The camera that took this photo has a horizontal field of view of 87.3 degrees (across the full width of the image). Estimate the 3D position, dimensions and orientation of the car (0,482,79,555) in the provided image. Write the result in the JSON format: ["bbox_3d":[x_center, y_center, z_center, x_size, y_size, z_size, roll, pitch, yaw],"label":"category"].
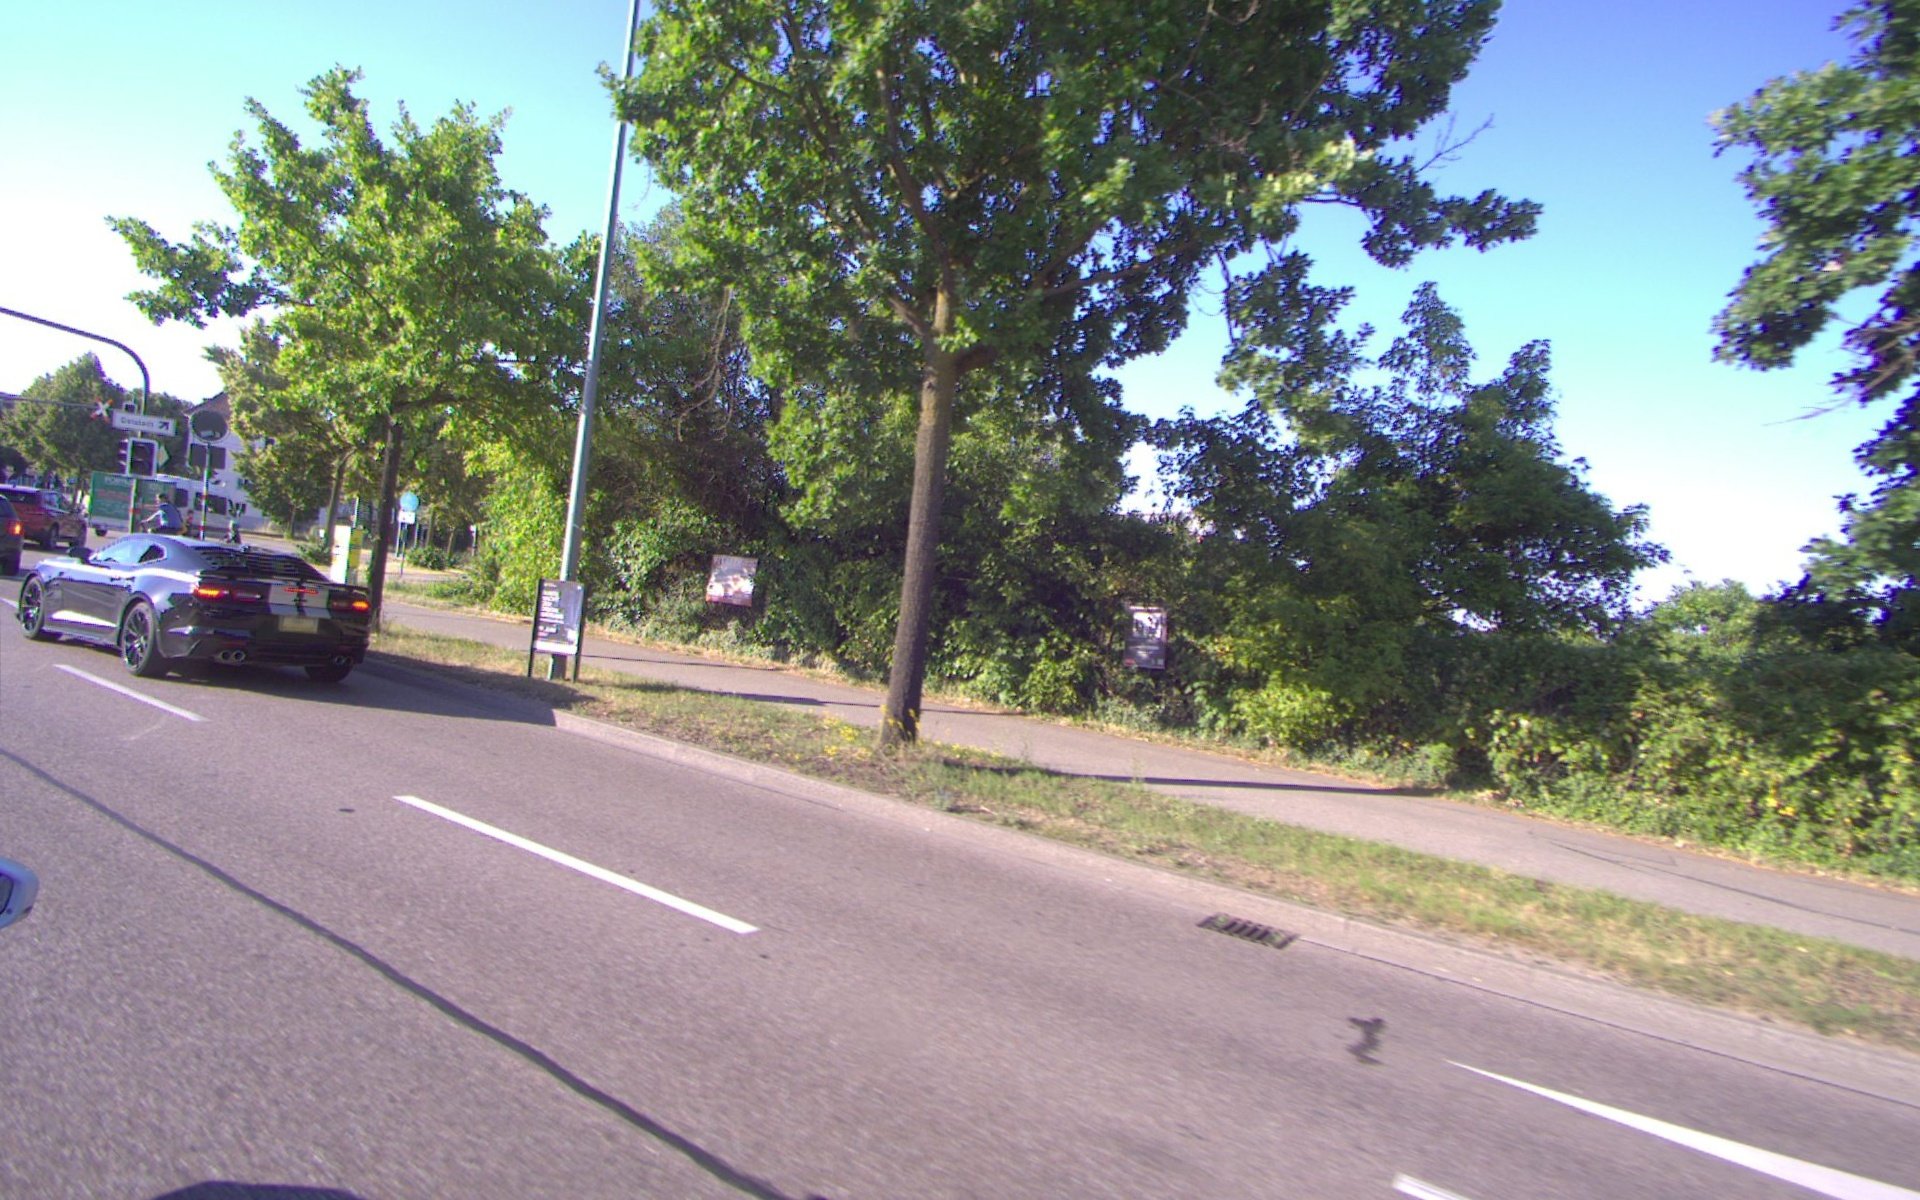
[{"bbox_3d":[-25.699,-2.267,27.601,1.739,1.639,3.782,10,-1,-35],"label":"car"}]

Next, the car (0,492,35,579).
[{"bbox_3d":[-18.882,-1.373,18.810,3.764,1.491,1.746,7,0,39],"label":"car"}]

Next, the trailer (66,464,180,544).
[{"bbox_3d":[-31.571,-3.554,38.095,2.069,2.428,3.484,8,-1,-22],"label":"trailer"}]

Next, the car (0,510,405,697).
[{"bbox_3d":[-8.221,-0.002,10.808,4.548,1.353,1.858,7,-2,32],"label":"car"}]

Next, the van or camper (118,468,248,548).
[{"bbox_3d":[-33.608,-3.878,43.792,2.260,2.659,6.556,8,-1,-19],"label":"van or camper"}]

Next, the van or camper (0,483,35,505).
[{"bbox_3d":[-112.523,-12.628,119.877,2.075,2.181,4.395,7,0,-26],"label":"van or camper"}]

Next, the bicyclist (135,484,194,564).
[{"bbox_3d":[-20.448,-1.938,25.863,0.926,1.923,0.598,5,1,-21],"label":"bicyclist"}]

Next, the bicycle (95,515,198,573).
[{"bbox_3d":[-20.801,-1.416,25.760,1.883,1.260,0.606,6,1,-21],"label":"bicycle"}]

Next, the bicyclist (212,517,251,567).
[{"bbox_3d":[-20.486,-1.625,28.301,0.457,1.311,0.651,8,1,15],"label":"bicyclist"}]

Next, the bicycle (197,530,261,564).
[{"bbox_3d":[-20.518,-1.484,28.269,0.431,0.796,1.464,7,0,15],"label":"bicycle"}]

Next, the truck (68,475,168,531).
[{"bbox_3d":[-50.189,-5.797,59.940,6.147,2.589,2.584,7,0,31],"label":"truck"}]
